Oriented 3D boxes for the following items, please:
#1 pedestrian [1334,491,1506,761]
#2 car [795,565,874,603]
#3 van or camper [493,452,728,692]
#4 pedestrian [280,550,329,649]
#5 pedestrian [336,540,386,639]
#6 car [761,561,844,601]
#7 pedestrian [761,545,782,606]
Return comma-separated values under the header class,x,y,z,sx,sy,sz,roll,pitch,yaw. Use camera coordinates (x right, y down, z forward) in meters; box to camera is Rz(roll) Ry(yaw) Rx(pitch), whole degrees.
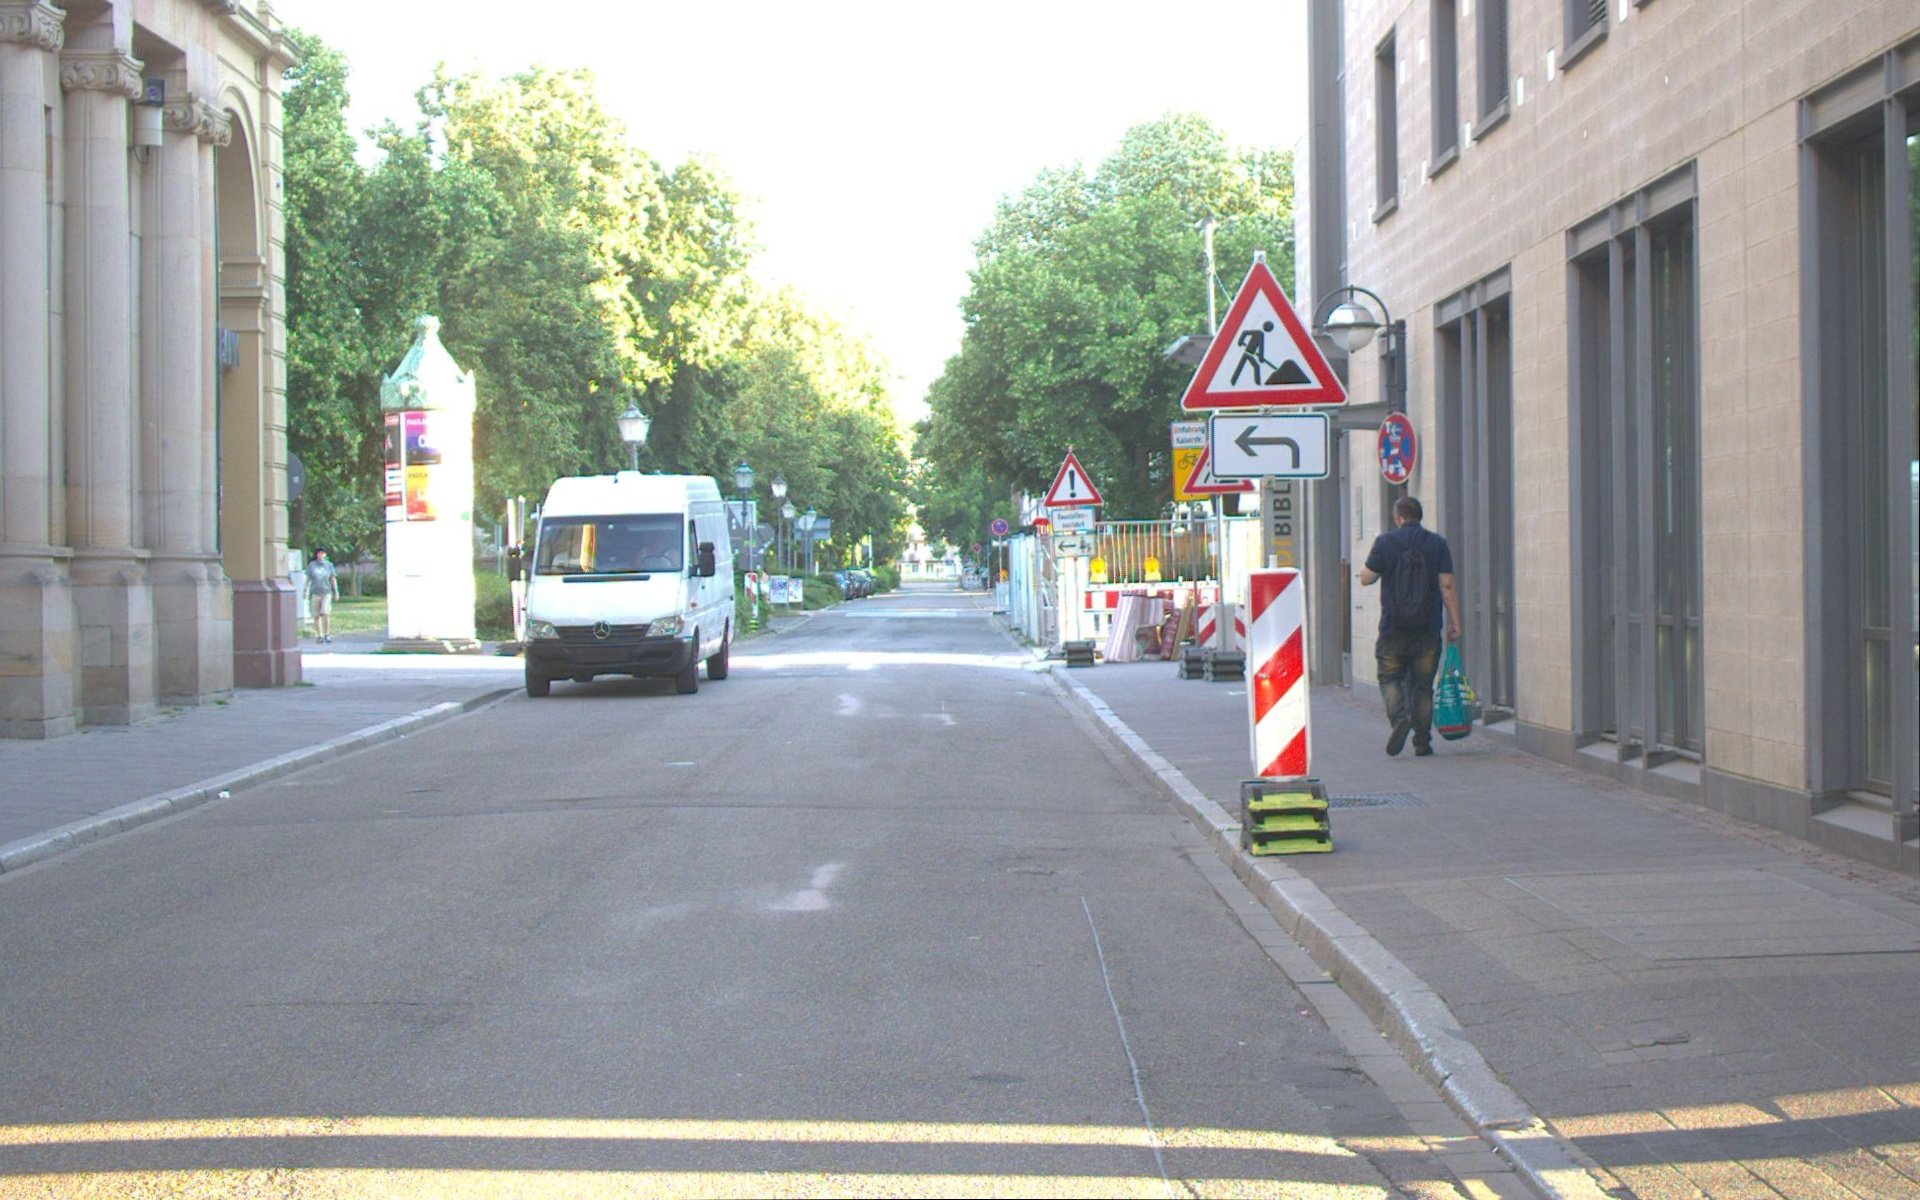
class,x,y,z,sx,sy,sz,roll,pitch,yaw
pedestrian,3.172,0.176,23.777,1.000,1.797,0.882,-2,0,-1
car,-6.196,-0.799,169.898,3.564,1.777,1.789,-1,0,9
van or camper,-3.989,-0.356,40.299,2.219,2.576,6.372,-1,1,-1
pedestrian,-11.916,-0.015,62.493,0.849,1.801,0.664,0,1,-13
pedestrian,-10.912,-0.198,62.599,0.849,1.801,0.664,0,1,-13
car,-7.359,-0.877,161.010,3.564,1.777,1.789,-1,0,9
pedestrian,-6.274,-0.821,114.238,0.609,2.007,0.905,0,1,-8
